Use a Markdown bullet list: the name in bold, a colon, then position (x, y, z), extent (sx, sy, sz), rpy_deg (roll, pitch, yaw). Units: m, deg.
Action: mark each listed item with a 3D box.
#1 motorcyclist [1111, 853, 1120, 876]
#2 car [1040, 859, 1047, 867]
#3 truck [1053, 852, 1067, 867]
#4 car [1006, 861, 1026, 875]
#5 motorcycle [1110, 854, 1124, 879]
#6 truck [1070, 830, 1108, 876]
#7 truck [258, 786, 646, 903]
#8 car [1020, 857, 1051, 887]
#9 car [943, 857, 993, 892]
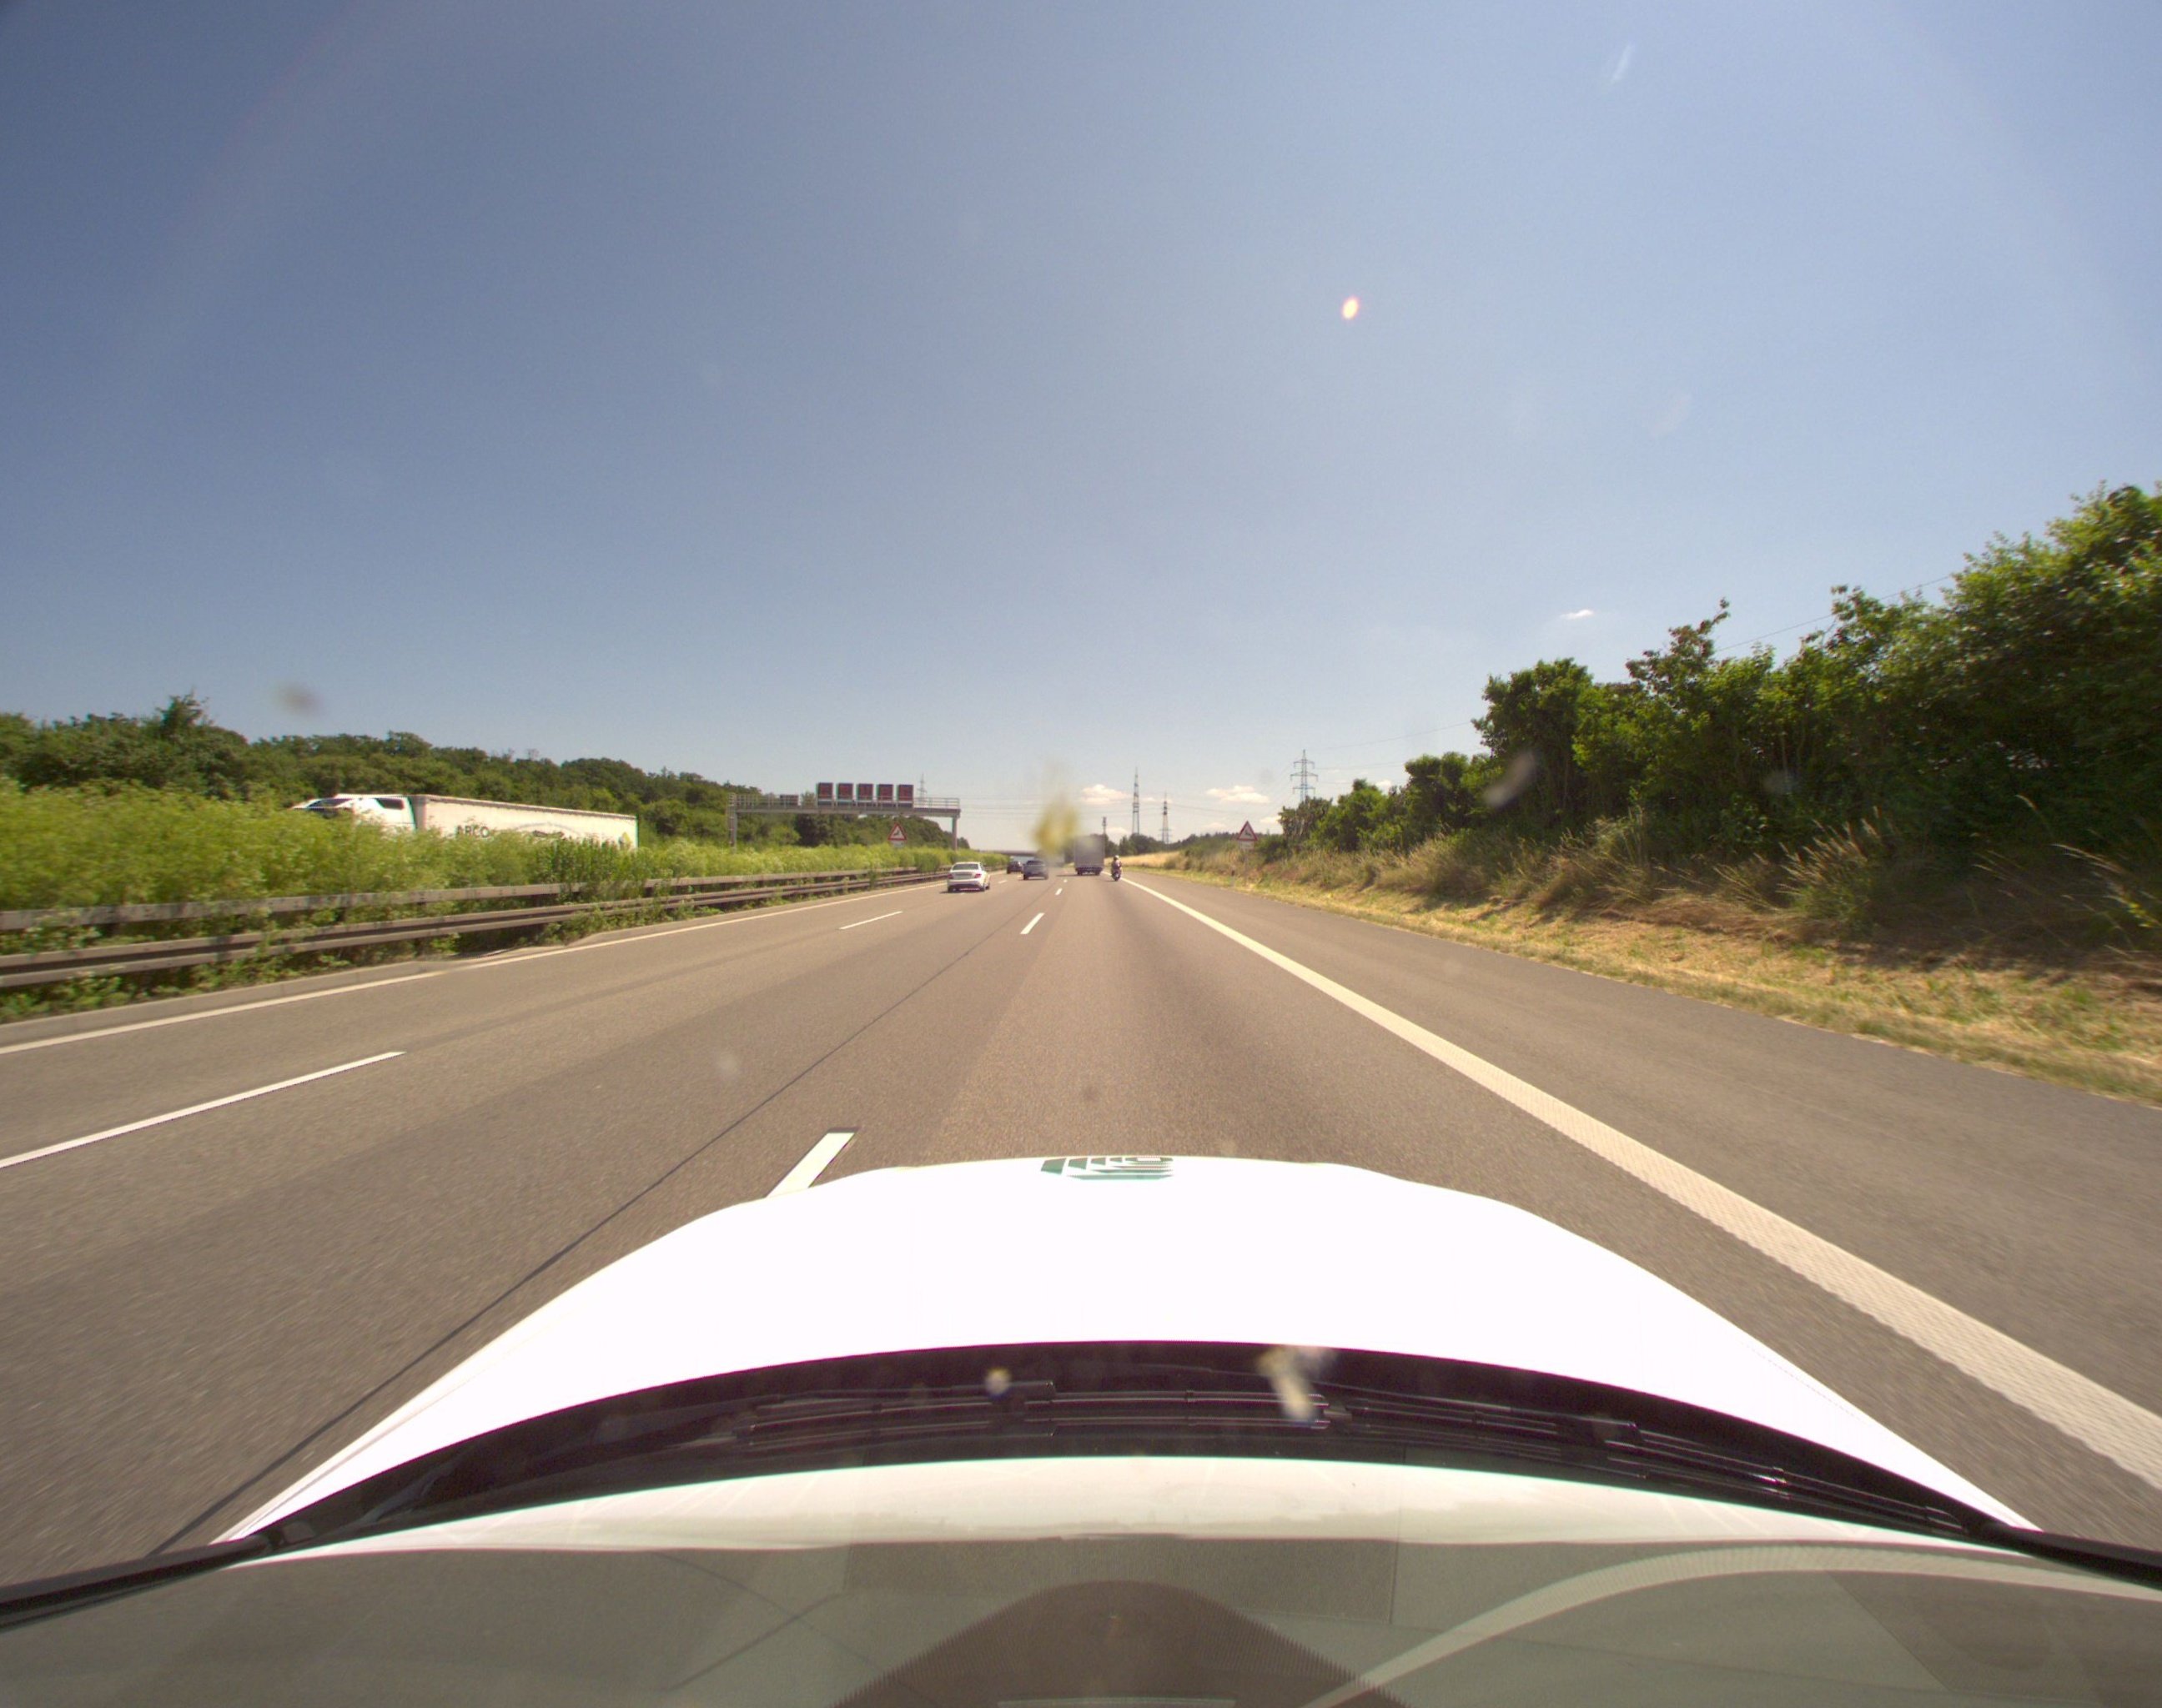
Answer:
- **motorcyclist**: position (2.260, 0.691, 53.323), extent (0.570, 1.479, 0.700), rpy_deg (-2, 0, -1)
- **car**: position (-9.674, 2.248, 209.964), extent (1.897, 1.925, 3.997), rpy_deg (-2, 0, -2)
- **truck**: position (-5.561, 1.417, 217.208), extent (3.475, 3.912, 7.284), rpy_deg (-1, 0, -2)
- **car**: position (-7.064, 1.521, 89.118), extent (1.750, 1.429, 4.000), rpy_deg (-2, 0, 1)
- **motorcycle**: position (2.325, 0.791, 53.320), extent (0.807, 1.607, 1.782), rpy_deg (-1, 0, 0)
- **truck**: position (0.683, -0.038, 74.898), extent (3.211, 3.924, 9.058), rpy_deg (-1, 0, 0)
- **truck**: position (-24.151, -0.357, 33.890), extent (2.796, 3.548, 16.837), rpy_deg (-2, 0, 1)
- **car**: position (-3.316, 1.307, 60.520), extent (1.987, 2.013, 4.000), rpy_deg (-2, 0, 1)
- **car**: position (-5.434, 0.948, 39.504), extent (1.814, 1.540, 3.914), rpy_deg (-2, 0, 0)
